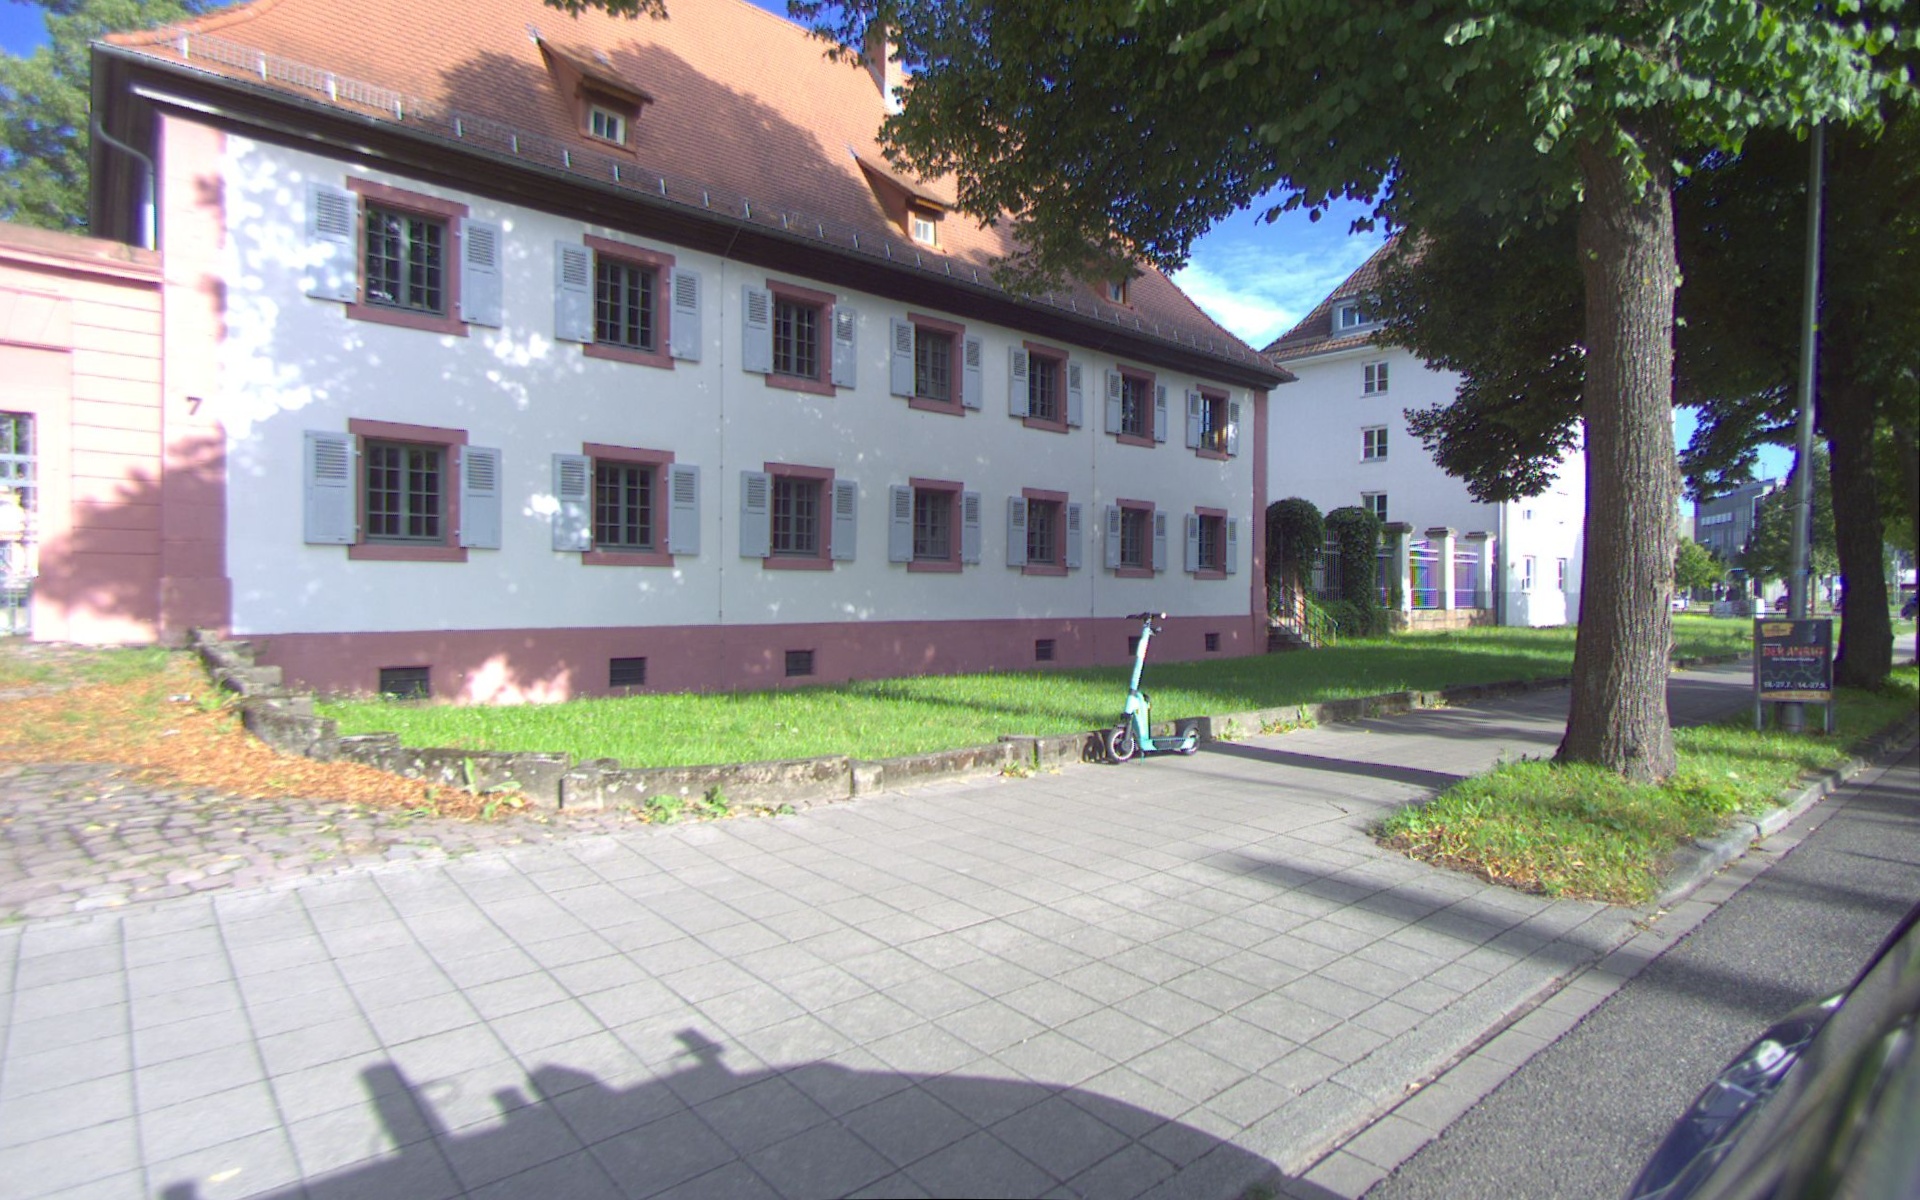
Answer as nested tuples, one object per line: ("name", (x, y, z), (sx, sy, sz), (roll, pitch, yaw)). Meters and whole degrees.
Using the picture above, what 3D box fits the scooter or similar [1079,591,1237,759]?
("scooter or similar", (1.713, 0.593, 8.688), (1.357, 1.307, 0.580), (0, 2, -40))
